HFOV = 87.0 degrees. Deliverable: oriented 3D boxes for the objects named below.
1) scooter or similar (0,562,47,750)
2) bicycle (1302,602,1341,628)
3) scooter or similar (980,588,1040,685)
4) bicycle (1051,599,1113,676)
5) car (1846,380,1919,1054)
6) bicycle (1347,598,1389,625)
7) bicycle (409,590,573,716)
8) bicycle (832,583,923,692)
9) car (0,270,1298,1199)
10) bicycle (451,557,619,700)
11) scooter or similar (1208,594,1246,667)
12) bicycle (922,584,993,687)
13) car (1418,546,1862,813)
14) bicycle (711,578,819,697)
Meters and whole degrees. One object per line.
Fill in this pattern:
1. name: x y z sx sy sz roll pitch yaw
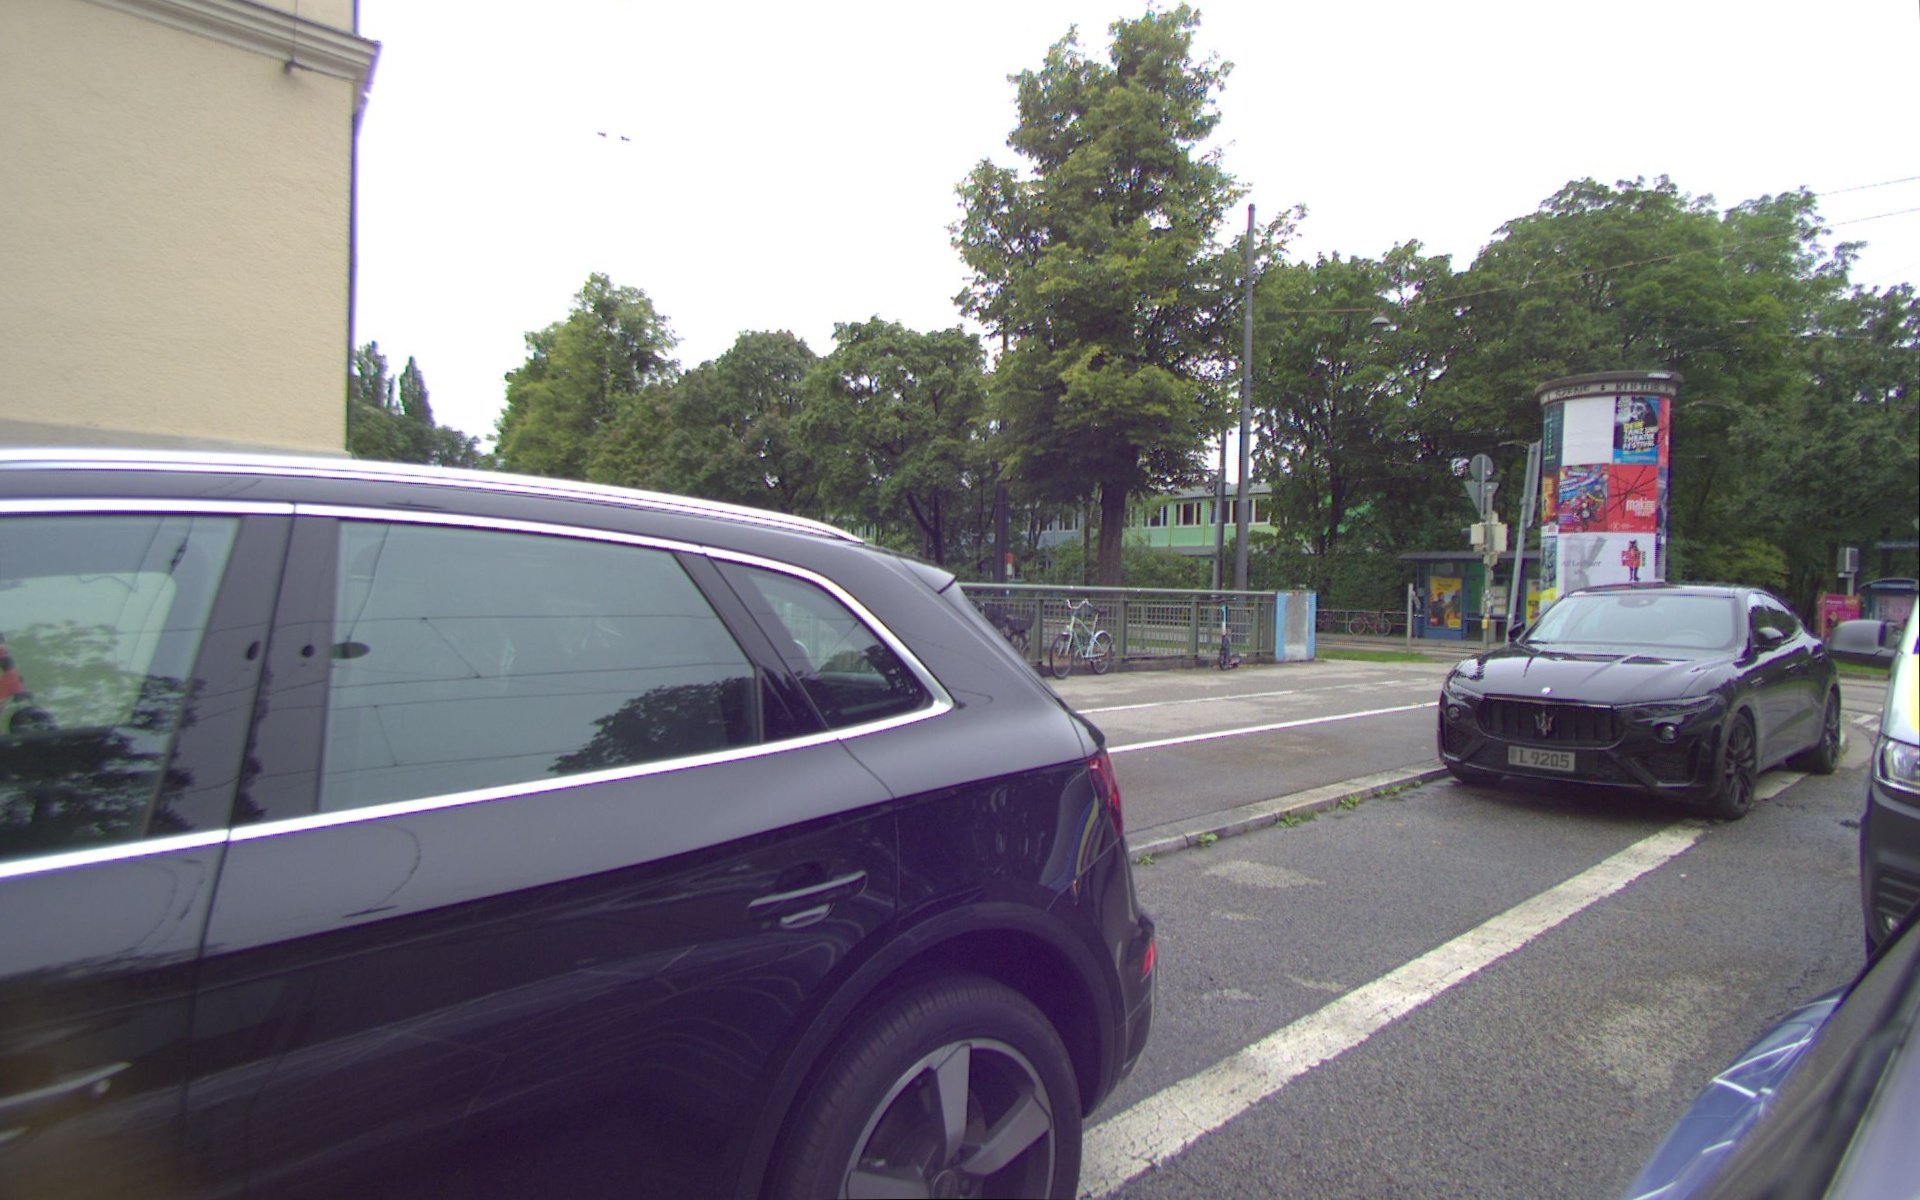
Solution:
1. scooter or similar: -7.107 0.396 7.028 1.122 1.329 0.261 0 -1 -41
2. bicycle: 14.247 0.592 39.866 0.366 0.964 1.483 0 1 -38
3. scooter or similar: 0.710 0.478 14.004 0.242 1.279 1.482 -1 0 27
4. bicycle: 1.854 0.539 15.237 0.263 1.096 1.524 -1 -1 34
5. car: 5.555 0.383 4.434 5.612 2.078 1.901 0 2 -43
6. bicycle: 15.385 0.424 38.177 0.366 0.964 1.483 0 1 -38
7. bicycle: -4.449 0.472 9.678 0.286 1.120 1.421 1 0 42
8. bicycle: -1.016 0.450 12.685 0.281 1.298 1.391 -1 -1 38
9. car: -1.417 0.516 1.729 4.408 1.679 1.778 0 0 -40
10. bicycle: -4.170 0.264 10.017 1.511 1.329 0.332 0 -1 -42
11. scooter or similar: 4.648 0.515 17.612 0.224 1.227 1.006 -1 -1 40
12. bicycle: -0.018 0.444 13.357 0.280 1.298 1.395 -1 -1 29
13. car: 5.815 0.513 8.413 4.582 1.630 1.904 1 -1 -40
14. bicycle: -2.223 0.407 11.653 0.281 1.298 1.391 -1 -1 38
